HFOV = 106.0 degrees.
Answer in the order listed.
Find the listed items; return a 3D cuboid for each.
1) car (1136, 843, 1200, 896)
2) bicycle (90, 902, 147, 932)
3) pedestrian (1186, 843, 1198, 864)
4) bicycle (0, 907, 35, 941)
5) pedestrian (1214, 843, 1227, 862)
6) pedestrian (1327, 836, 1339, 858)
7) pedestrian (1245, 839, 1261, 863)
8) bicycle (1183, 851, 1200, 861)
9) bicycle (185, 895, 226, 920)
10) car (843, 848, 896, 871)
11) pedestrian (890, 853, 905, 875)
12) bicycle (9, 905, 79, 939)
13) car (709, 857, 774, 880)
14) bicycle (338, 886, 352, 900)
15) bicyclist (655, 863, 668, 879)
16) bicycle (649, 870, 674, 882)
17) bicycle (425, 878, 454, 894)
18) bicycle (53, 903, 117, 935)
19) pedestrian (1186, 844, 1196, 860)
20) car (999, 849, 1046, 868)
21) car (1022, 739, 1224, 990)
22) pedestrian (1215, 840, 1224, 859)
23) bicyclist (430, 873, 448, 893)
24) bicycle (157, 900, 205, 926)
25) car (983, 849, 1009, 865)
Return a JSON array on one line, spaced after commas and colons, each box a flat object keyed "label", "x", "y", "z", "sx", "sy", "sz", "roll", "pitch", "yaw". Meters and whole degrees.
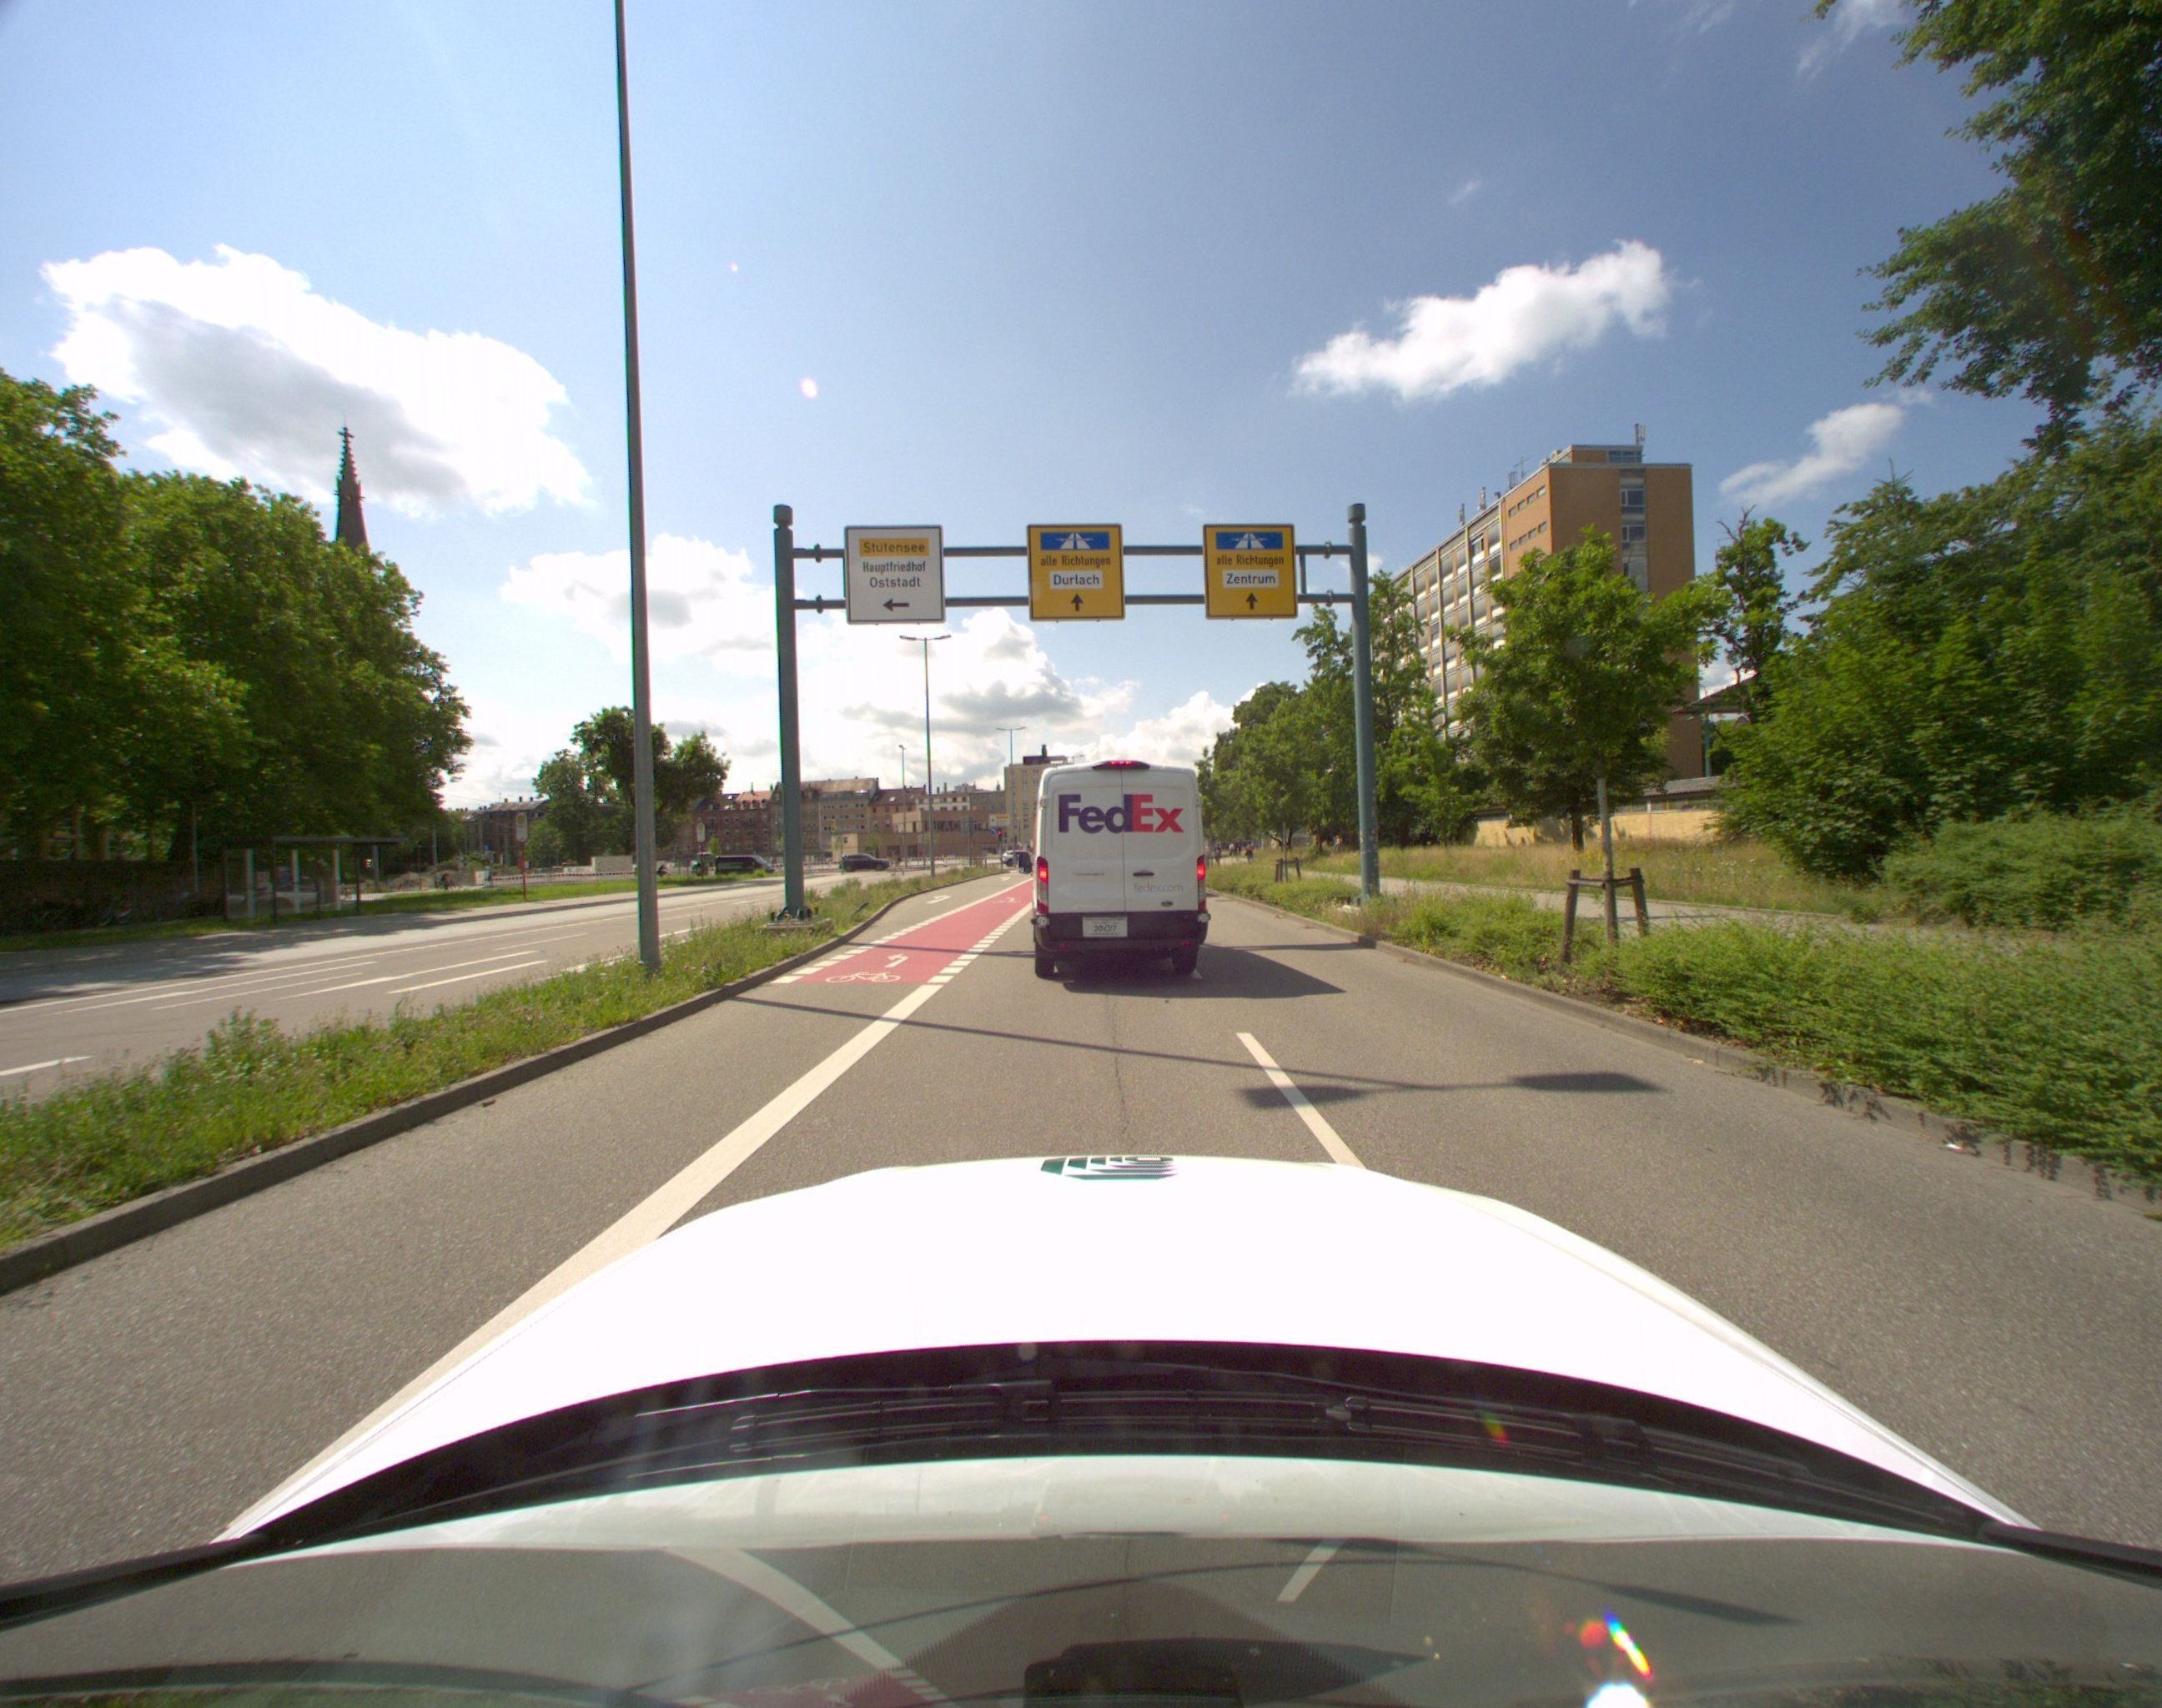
[{"label": "car", "x": 3.051, "y": 0.493, "z": 29.369, "sx": 1.806, "sy": 1.734, "sz": 4.388, "roll": -1, "pitch": 0, "yaw": 0}, {"label": "bicycle", "x": -33.612, "y": 2.180, "z": 28.458, "sx": 0.453, "sy": 0.902, "sz": 1.782, "roll": -2, "pitch": 0, "yaw": -21}, {"label": "pedestrian", "x": 9.968, "y": -0.066, "z": 73.371, "sx": 0.947, "sy": 1.892, "sz": 0.773, "roll": -2, "pitch": 0, "yaw": 0}, {"label": "bicycle", "x": -31.554, "y": 2.056, "z": 23.716, "sx": 0.545, "sy": 0.902, "sz": 1.654, "roll": -2, "pitch": 0, "yaw": -21}, {"label": "pedestrian", "x": 10.619, "y": -0.091, "z": 62.069, "sx": 0.842, "sy": 1.389, "sz": 0.741, "roll": -2, "pitch": 0, "yaw": 0}, {"label": "pedestrian", "x": 23.707, "y": -0.687, "z": 76.637, "sx": 0.740, "sy": 2.058, "sz": 0.843, "roll": -2, "pitch": 0, "yaw": -16}, {"label": "pedestrian", "x": 11.590, "y": -0.190, "z": 54.777, "sx": 0.842, "sy": 1.539, "sz": 0.835, "roll": -2, "pitch": 0, "yaw": 0}, {"label": "bicycle", "x": 10.723, "y": 0.190, "z": 79.012, "sx": 1.557, "sy": 0.955, "sz": 0.488, "roll": -2, "pitch": 0, "yaw": 19}, {"label": "bicycle", "x": -36.007, "y": 2.190, "z": 33.523, "sx": 0.546, "sy": 0.902, "sz": 1.651, "roll": -2, "pitch": 0, "yaw": -26}, {"label": "car", "x": -20.747, "y": 0.546, "z": 80.003, "sx": 4.621, "sy": 2.013, "sz": 2.096, "roll": -2, "pitch": -1, "yaw": -5}, {"label": "pedestrian", "x": -13.155, "y": 0.696, "z": 58.328, "sx": 0.880, "sy": 1.560, "sz": 0.549, "roll": -2, "pitch": 0, "yaw": -39}, {"label": "bicycle", "x": -32.186, "y": 2.098, "z": 25.309, "sx": 0.545, "sy": 0.902, "sz": 1.654, "roll": -2, "pitch": 0, "yaw": -21}, {"label": "car", "x": -30.896, "y": 1.268, "z": 74.136, "sx": 4.998, "sy": 1.879, "sz": 1.926, "roll": -2, "pitch": 1, "yaw": -4}, {"label": "bicycle", "x": -51.341, "y": 2.720, "z": 56.791, "sx": 1.644, "sy": 0.902, "sz": 0.549, "roll": -2, "pitch": 0, "yaw": 41}, {"label": "bicyclist", "x": -39.607, "y": 1.585, "z": 76.908, "sx": 0.967, "sy": 1.474, "sz": 0.550, "roll": -2, "pitch": 0, "yaw": -7}, {"label": "bicycle", "x": -39.604, "y": 2.103, "z": 76.909, "sx": 1.919, "sy": 1.030, "sz": 0.546, "roll": -2, "pitch": 0, "yaw": -8}, {"label": "bicycle", "x": -59.443, "y": 2.959, "z": 75.461, "sx": 2.062, "sy": 1.290, "sz": 0.603, "roll": -2, "pitch": 0, "yaw": -8}, {"label": "bicycle", "x": -32.830, "y": 2.125, "z": 26.867, "sx": 0.545, "sy": 0.902, "sz": 1.654, "roll": -2, "pitch": 0, "yaw": -21}, {"label": "pedestrian", "x": 10.681, "y": -0.192, "z": 79.015, "sx": 0.892, "sy": 1.472, "sz": 0.488, "roll": -2, "pitch": 0, "yaw": 19}, {"label": "car", "x": -5.902, "y": 0.457, "z": 81.757, "sx": 4.361, "sy": 1.794, "sz": 1.991, "roll": -2, "pitch": 0, "yaw": -13}, {"label": "car", "x": 0.281, "y": 0.085, "z": 11.733, "sx": 2.136, "sy": 2.652, "sz": 5.696, "roll": -2, "pitch": 0, "yaw": -4}, {"label": "pedestrian", "x": 14.161, "y": -0.431, "z": 83.062, "sx": 0.671, "sy": 1.892, "sz": 0.579, "roll": -2, "pitch": 0, "yaw": 44}, {"label": "bicyclist", "x": -59.483, "y": 2.688, "z": 75.474, "sx": 1.118, "sy": 1.844, "sz": 0.592, "roll": -2, "pitch": 1, "yaw": -8}, {"label": "bicycle", "x": -35.010, "y": 2.288, "z": 31.707, "sx": 0.545, "sy": 0.902, "sz": 1.654, "roll": -2, "pitch": 0, "yaw": -21}, {"label": "car", "x": -11.198, "y": 0.358, "z": 107.580, "sx": 1.979, "sy": 2.013, "sz": 4.016, "roll": -2, "pitch": 0, "yaw": 15}]
